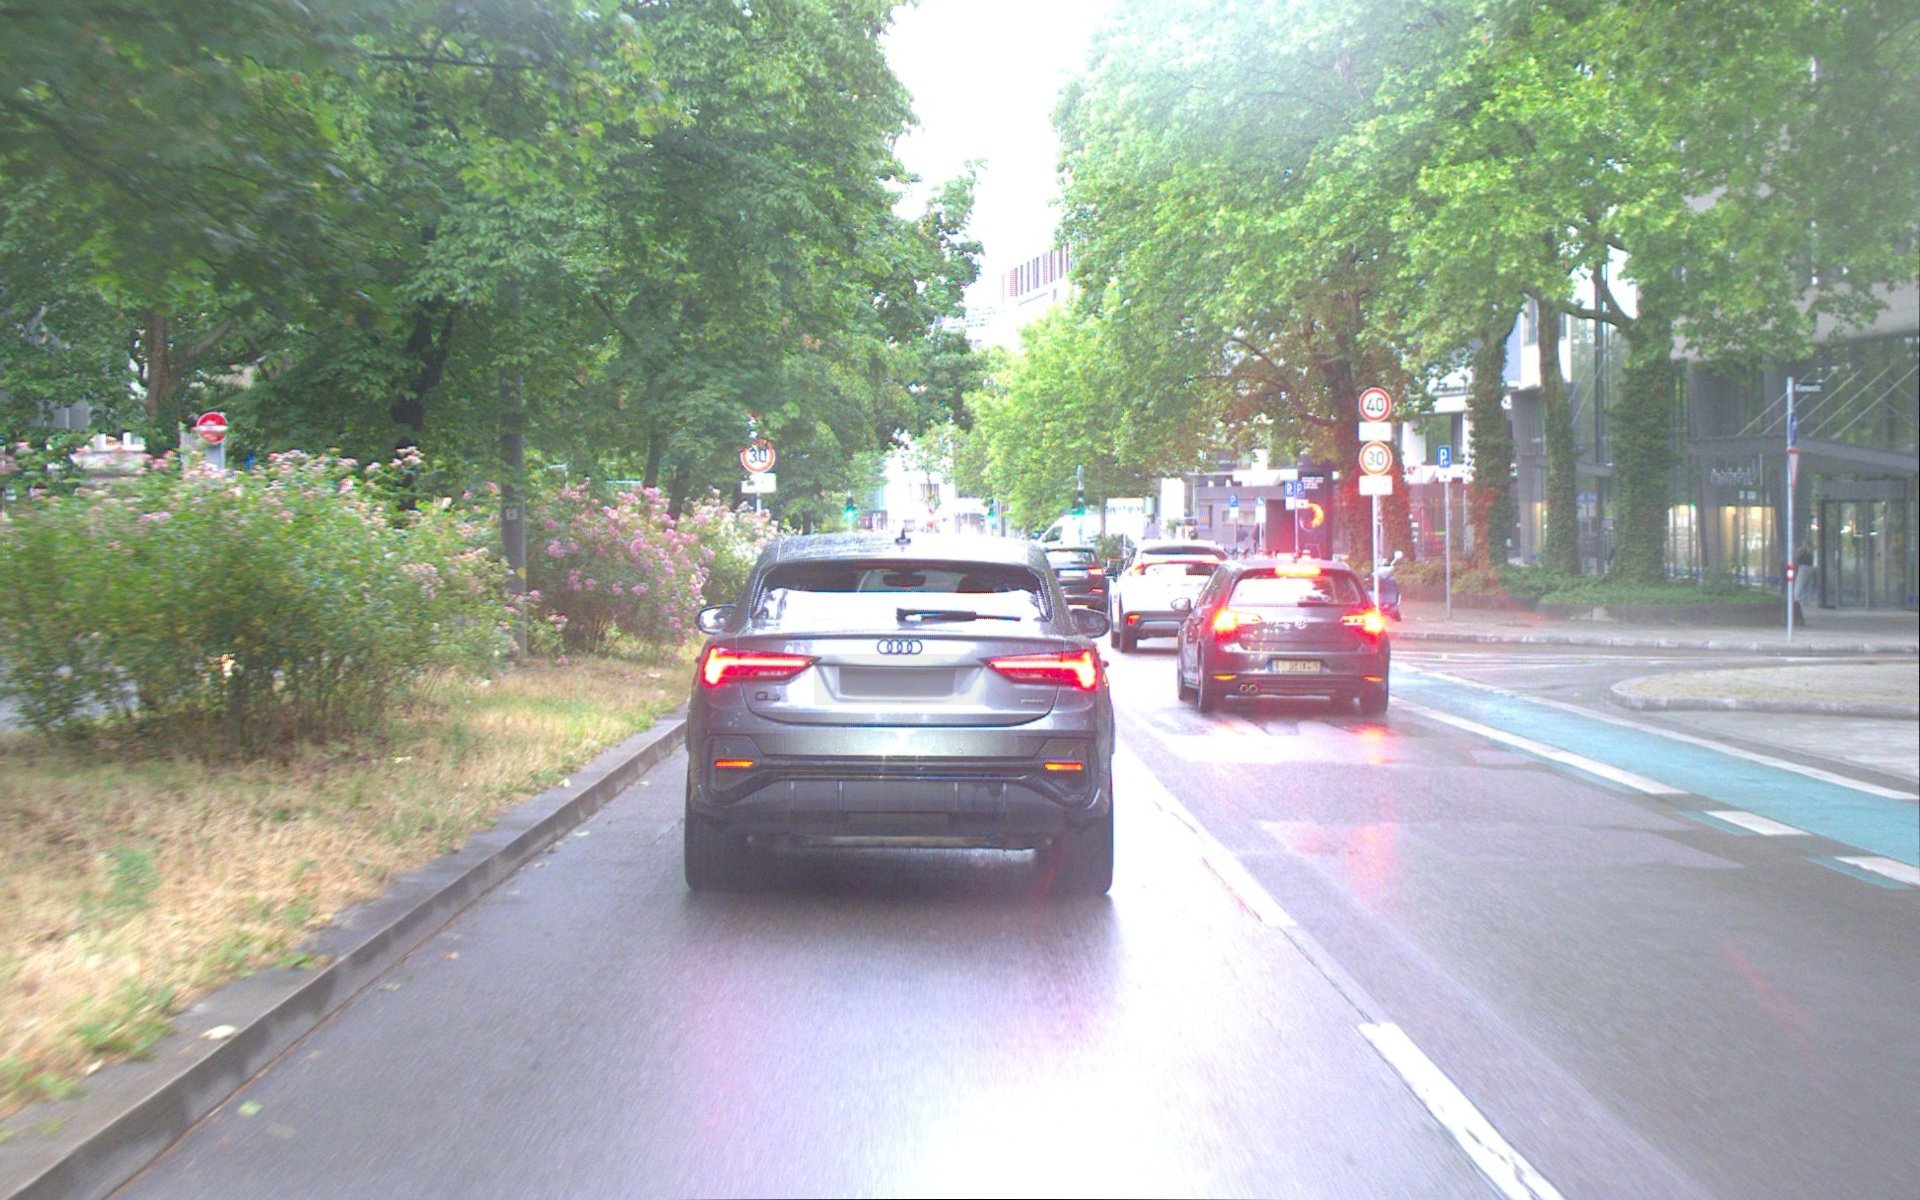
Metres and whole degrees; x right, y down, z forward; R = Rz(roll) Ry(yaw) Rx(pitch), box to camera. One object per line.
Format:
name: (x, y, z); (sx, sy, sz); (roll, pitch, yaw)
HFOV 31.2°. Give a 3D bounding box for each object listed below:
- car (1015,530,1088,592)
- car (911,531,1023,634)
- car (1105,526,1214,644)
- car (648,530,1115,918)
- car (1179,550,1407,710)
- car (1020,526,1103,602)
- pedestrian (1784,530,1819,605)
car: (2.590, -1.132, 98.258); (1.993, 1.744, 4.000); (0, 1, 0)
car: (0.091, -0.308, 55.360); (1.721, 1.572, 3.962); (0, 1, -1)
car: (2.921, -0.244, 50.676); (1.433, 1.679, 2.979); (0, 1, 0)
car: (-0.280, 0.453, 16.065); (1.863, 1.527, 4.527); (1, 1, 1)
car: (3.144, 0.243, 33.145); (1.765, 1.408, 4.000); (0, 1, -1)
car: (2.367, -0.876, 80.917); (1.822, 1.744, 4.000); (0, 1, 0)
pedestrian: (20.332, -0.785, 83.069); (0.650, 1.809, 0.655); (1, 1, -1)
